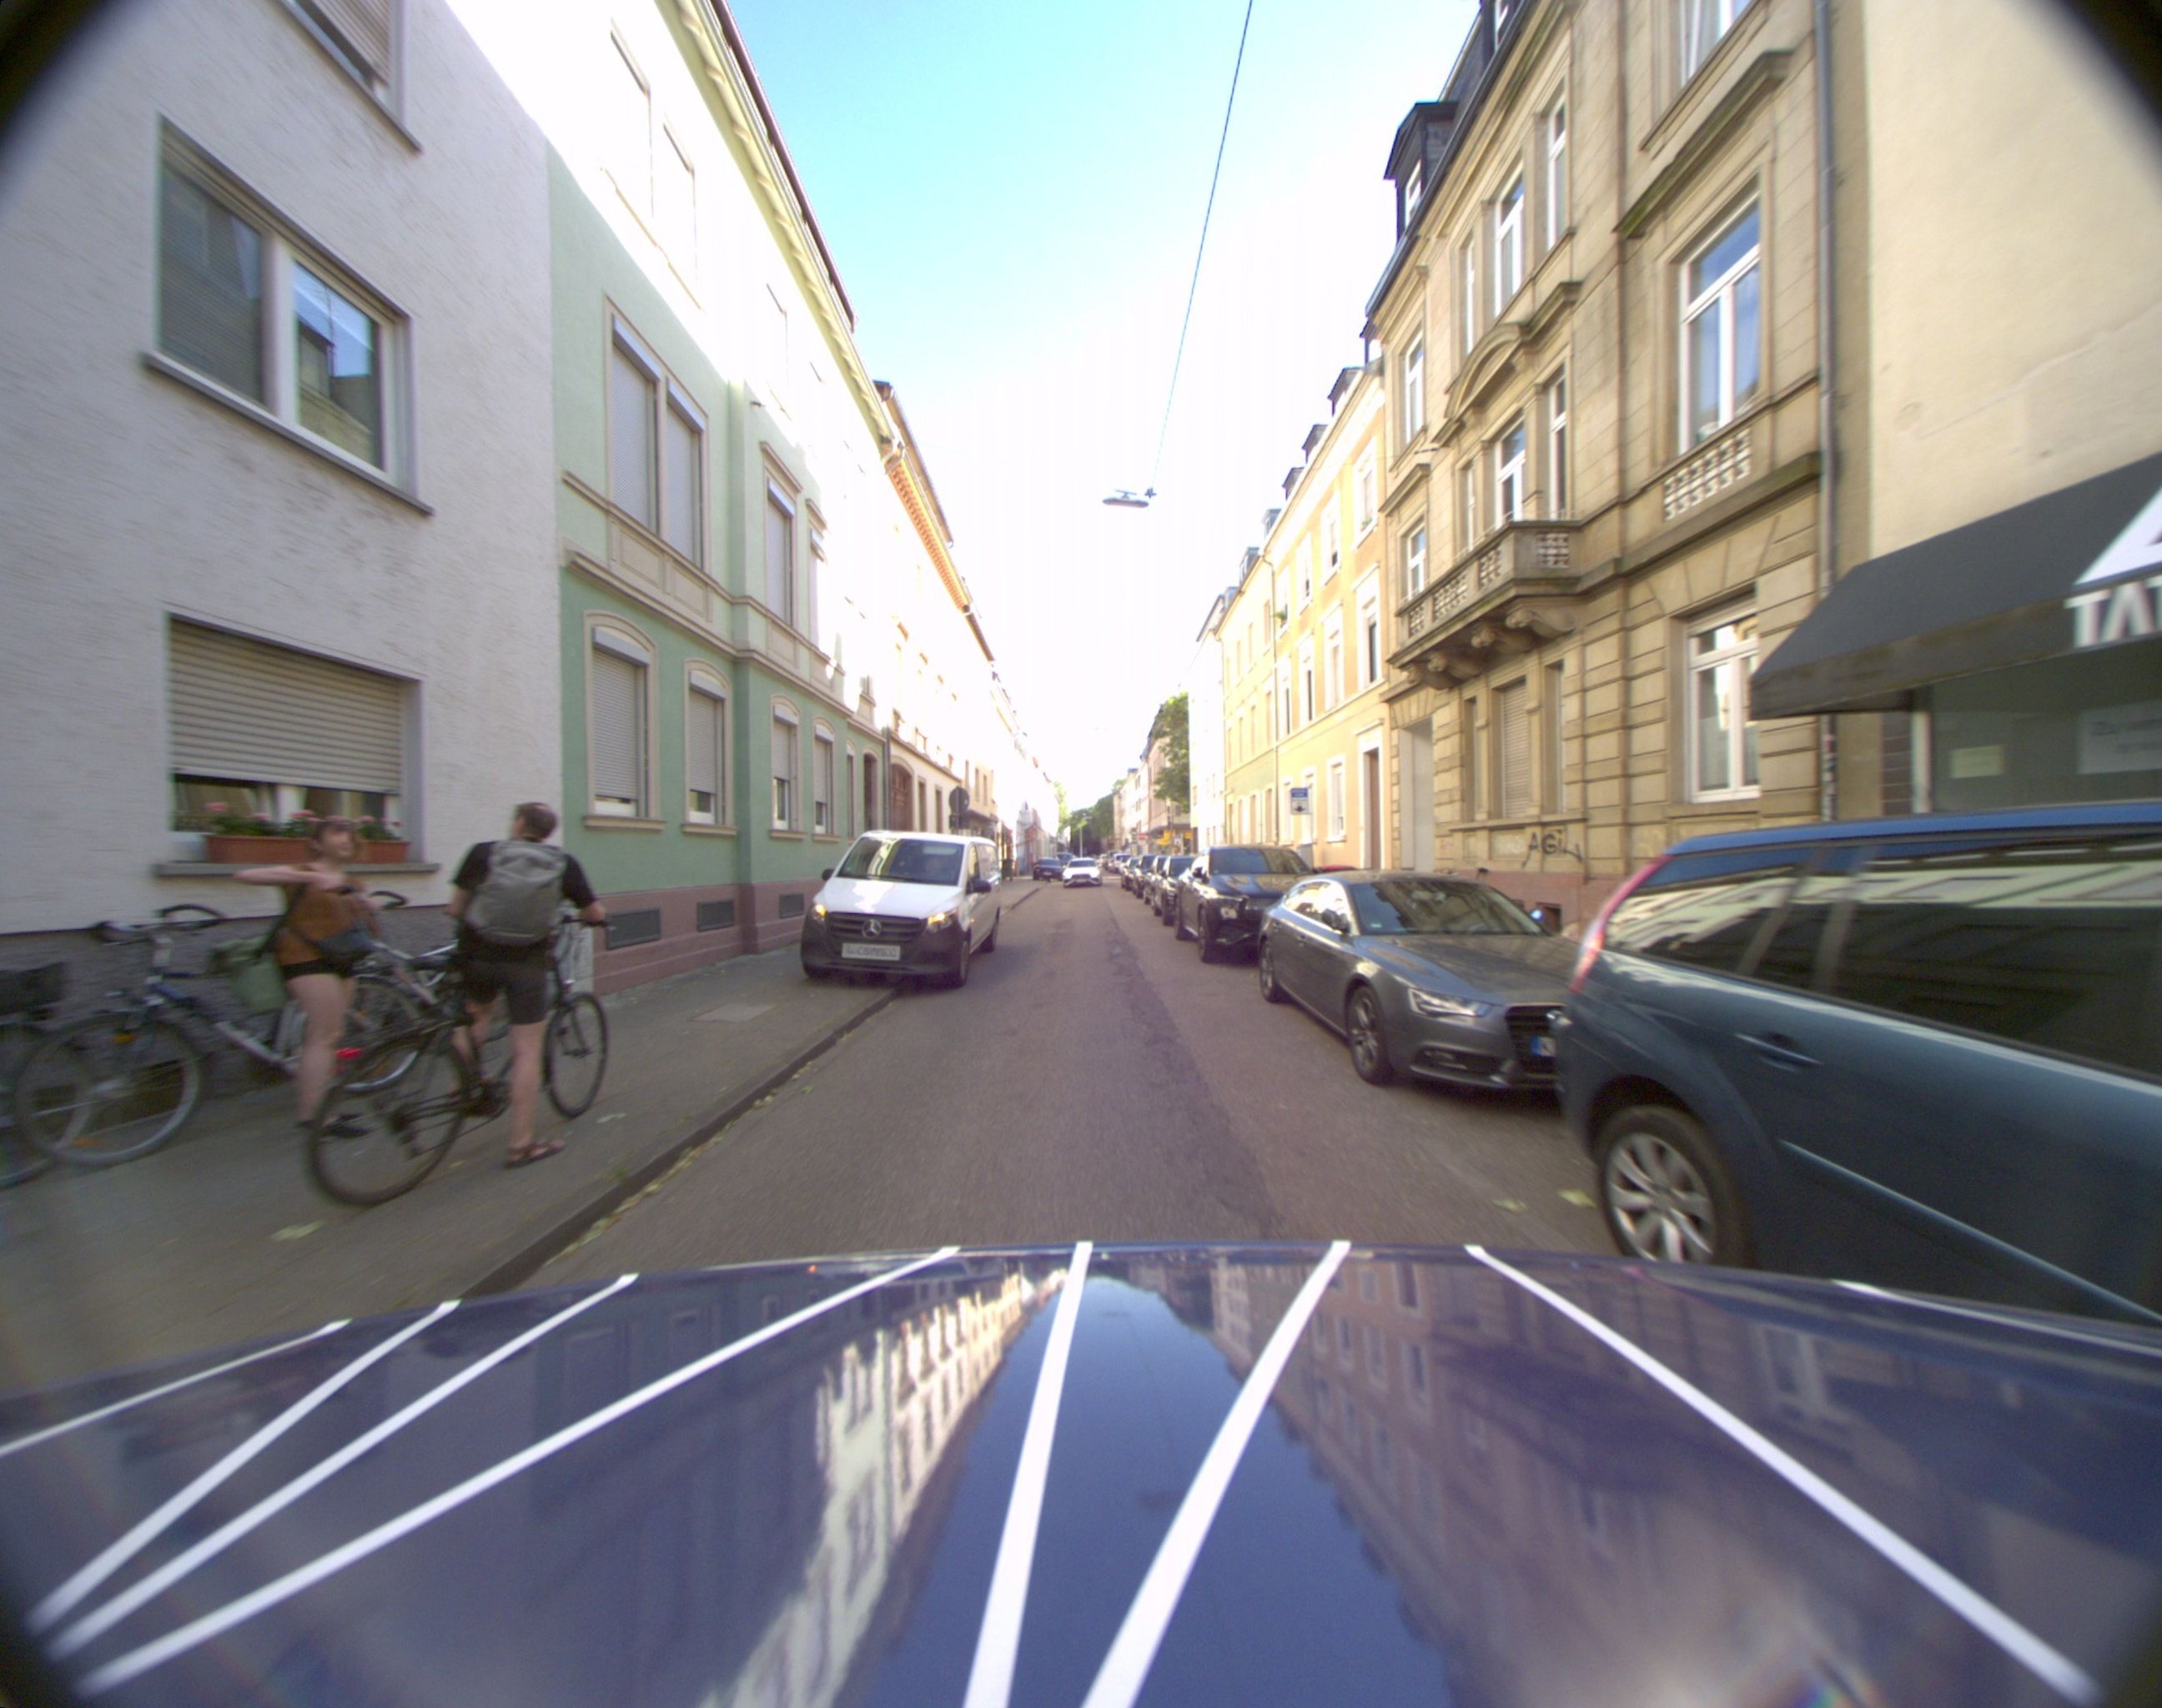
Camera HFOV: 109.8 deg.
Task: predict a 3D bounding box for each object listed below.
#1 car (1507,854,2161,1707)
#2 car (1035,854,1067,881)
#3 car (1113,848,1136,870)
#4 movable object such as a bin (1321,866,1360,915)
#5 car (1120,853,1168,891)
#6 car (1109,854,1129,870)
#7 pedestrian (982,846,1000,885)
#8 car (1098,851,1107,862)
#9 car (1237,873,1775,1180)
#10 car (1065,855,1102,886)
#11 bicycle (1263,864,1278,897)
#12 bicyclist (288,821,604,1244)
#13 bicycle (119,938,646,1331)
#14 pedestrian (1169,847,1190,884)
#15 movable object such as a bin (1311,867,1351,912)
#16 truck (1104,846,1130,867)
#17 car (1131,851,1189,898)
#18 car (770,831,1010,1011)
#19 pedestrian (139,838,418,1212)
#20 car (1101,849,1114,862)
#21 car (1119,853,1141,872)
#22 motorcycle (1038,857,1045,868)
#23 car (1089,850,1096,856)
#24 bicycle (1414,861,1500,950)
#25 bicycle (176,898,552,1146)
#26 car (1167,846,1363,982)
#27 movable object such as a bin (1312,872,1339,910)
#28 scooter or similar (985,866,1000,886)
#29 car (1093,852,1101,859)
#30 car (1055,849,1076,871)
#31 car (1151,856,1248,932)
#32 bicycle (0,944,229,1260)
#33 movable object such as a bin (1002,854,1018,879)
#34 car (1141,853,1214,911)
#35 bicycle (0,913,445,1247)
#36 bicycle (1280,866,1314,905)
[{"bbox_3d":[2.783,0.847,1.042,1.787,1.657,4.670,1,0,0],"label":"car"},{"bbox_3d":[-1.889,0.817,49.333,1.805,1.570,4.897,-1,0,0],"label":"car"},{"bbox_3d":[3.949,0.420,69.779,1.771,1.887,4.808,1,0,-1],"label":"car"},{"bbox_3d":[6.194,0.854,18.175,0.721,1.125,0.584,-1,1,-3],"label":"movable object such as a bin"},{"bbox_3d":[2.749,0.753,34.162,1.718,1.480,4.851,2,0,0],"label":"car"},{"bbox_3d":[3.733,0.777,75.784,1.669,1.514,4.488,1,0,-1],"label":"car"},{"bbox_3d":[-4.345,0.557,36.481,0.651,1.849,0.747,1,0,-21],"label":"pedestrian"},{"bbox_3d":[4.143,0.446,144.738,1.585,1.971,4.067,-1,1,1],"label":"car"},{"bbox_3d":[2.735,0.978,6.425,1.850,1.409,4.817,1,1,0],"label":"car"},{"bbox_3d":[0.153,0.806,38.432,1.761,1.399,4.021,-1,1,1],"label":"car"},{"bbox_3d":[6.354,0.865,25.474,0.361,1.023,1.918,0,1,10],"label":"bicycle"},{"bbox_3d":[-2.923,0.756,3.603,0.762,1.760,0.822,2,0,-2],"label":"bicyclist"},{"bbox_3d":[-2.962,1.076,3.601,0.665,1.130,1.988,2,-1,-2],"label":"bicycle"},{"bbox_3d":[5.040,0.563,38.877,0.913,1.822,1.245,-1,1,0],"label":"pedestrian"},{"bbox_3d":[6.180,0.876,18.796,0.737,1.082,0.682,-1,-1,-3],"label":"movable object such as a bin"},{"bbox_3d":[4.058,0.287,87.145,2.171,2.295,6.344,1,1,-5],"label":"truck"},{"bbox_3d":[2.846,0.714,28.302,1.748,1.605,4.603,1,0,1],"label":"car"},{"bbox_3d":[-2.338,0.727,11.063,1.988,1.873,5.599,3,0,0],"label":"car"},{"bbox_3d":[-4.002,0.773,3.839,0.656,1.702,0.687,0,1,12],"label":"pedestrian"},{"bbox_3d":[4.321,0.204,125.038,1.913,2.076,4.696,-1,0,1],"label":"car"},{"bbox_3d":[4.109,0.699,63.562,1.671,1.551,3.722,-1,0,1],"label":"car"},{"bbox_3d":[-4.032,0.871,77.345,0.638,1.038,2.363,-1,1,-1],"label":"motorcycle"},{"bbox_3d":[3.297,-0.293,214.078,1.985,1.674,4.021,-1,1,1],"label":"car"},{"bbox_3d":[5.970,0.770,12.178,0.512,1.269,1.867,-1,1,2],"label":"bicycle"},{"bbox_3d":[-4.677,0.985,5.239,0.406,1.199,2.159,0,1,4],"label":"bicycle"},{"bbox_3d":[2.623,0.753,12.221,1.941,1.726,5.141,0,0,0],"label":"car"},{"bbox_3d":[6.282,0.940,19.527,0.474,0.932,0.561,-2,1,-2],"label":"movable object such as a bin"},{"bbox_3d":[-4.153,1.018,35.521,0.491,0.939,0.869,1,0,7],"label":"scooter or similar"},{"bbox_3d":[3.557,0.369,174.385,1.786,1.674,4.021,-1,1,1],"label":"car"},{"bbox_3d":[-1.493,0.545,74.283,1.975,2.017,4.898,-2,0,-1],"label":"car"},{"bbox_3d":[2.621,0.818,17.741,1.717,1.522,4.367,0,0,2],"label":"car"},{"bbox_3d":[-4.560,1.030,2.814,0.570,1.147,1.868,0,1,5],"label":"bicycle"},{"bbox_3d":[-4.220,0.732,45.140,0.748,1.428,1.372,2,1,2],"label":"movable object such as a bin"},{"bbox_3d":[2.755,0.752,22.507,1.620,1.544,3.977,-1,0,-1],"label":"car"},{"bbox_3d":[-4.565,1.004,3.903,0.438,1.199,2.267,0,1,7],"label":"bicycle"},{"bbox_3d":[6.272,0.896,22.125,0.403,1.050,1.836,-1,1,-3],"label":"bicycle"}]
